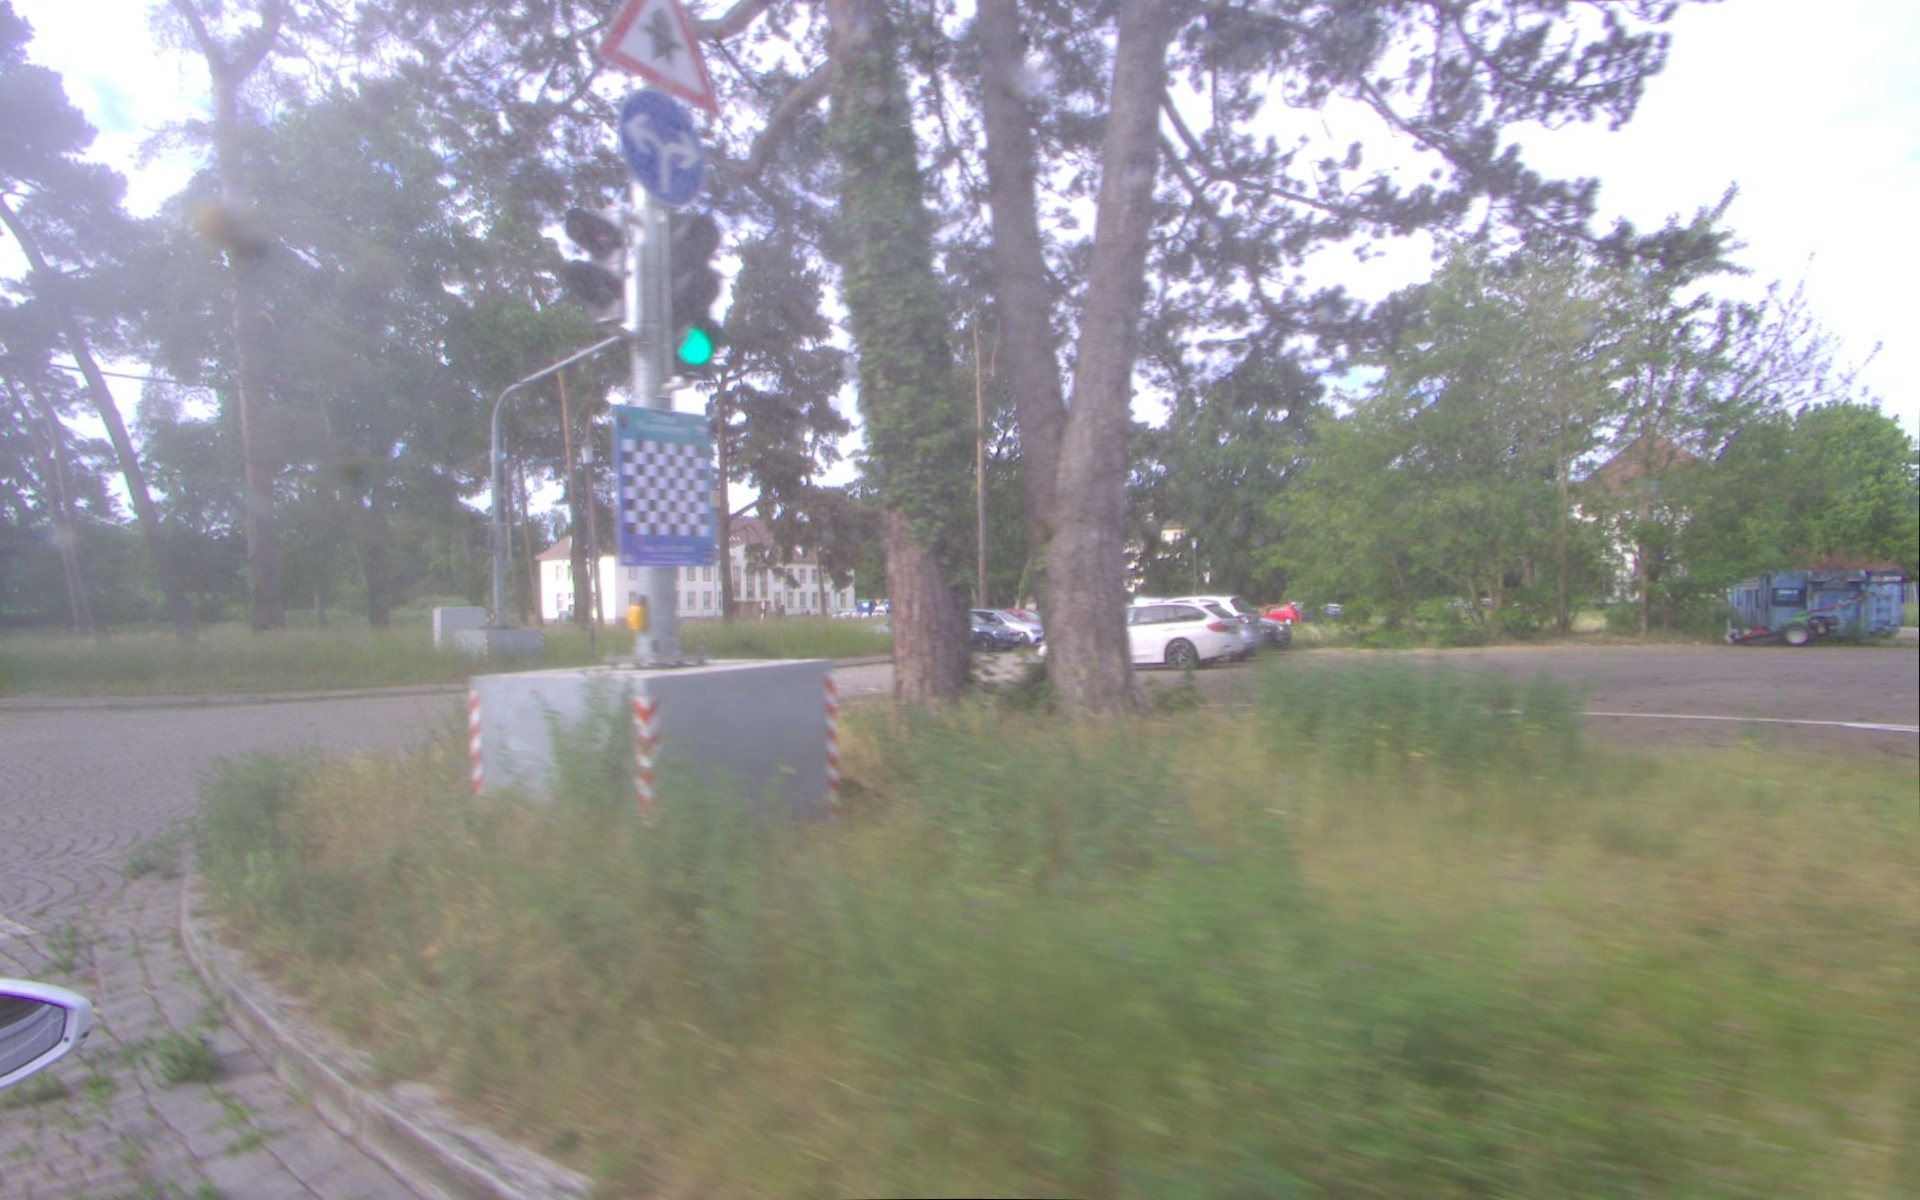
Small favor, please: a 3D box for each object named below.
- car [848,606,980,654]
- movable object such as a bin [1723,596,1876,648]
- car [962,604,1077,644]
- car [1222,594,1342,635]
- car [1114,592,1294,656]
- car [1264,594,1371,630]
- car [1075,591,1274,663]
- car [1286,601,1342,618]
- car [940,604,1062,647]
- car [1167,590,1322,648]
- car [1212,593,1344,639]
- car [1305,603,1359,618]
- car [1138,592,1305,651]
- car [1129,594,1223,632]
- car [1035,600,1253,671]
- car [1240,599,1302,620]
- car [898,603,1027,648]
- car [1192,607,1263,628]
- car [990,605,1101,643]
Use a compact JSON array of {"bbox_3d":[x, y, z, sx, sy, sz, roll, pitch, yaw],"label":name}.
[{"bbox_3d":[-1.609,1.005,34.427,4.388,1.544,1.747,-1,0,35],"label":"car"},{"bbox_3d":[18.958,0.465,22.726,2.506,1.098,1.059,1,1,32],"label":"movable object such as a bin"},{"bbox_3d":[2.410,0.956,40.810,4.381,1.544,1.749,-1,0,31],"label":"car"},{"bbox_3d":[13.175,0.586,41.012,4.382,1.598,1.863,-1,0,30],"label":"car"},{"bbox_3d":[6.581,0.623,27.107,4.381,1.598,1.863,-1,0,30],"label":"car"},{"bbox_3d":[16.469,0.556,46.186,4.382,1.598,1.863,-1,0,30],"label":"car"},{"bbox_3d":[5.182,0.623,24.300,4.381,1.598,1.863,-1,0,30],"label":"car"},{"bbox_3d":[27.634,0.740,78.132,3.938,1.225,1.655,-1,0,28],"label":"car"},{"bbox_3d":[1.556,0.961,38.437,4.381,1.544,1.749,-1,0,31],"label":"car"},{"bbox_3d":[8.894,0.573,31.380,4.381,1.709,1.863,-1,0,30],"label":"car"},{"bbox_3d":[11.770,0.589,37.118,4.381,1.598,1.863,-1,0,30],"label":"car"},{"bbox_3d":[30.348,0.846,81.620,3.938,1.225,1.655,-1,0,28],"label":"car"},{"bbox_3d":[7.577,0.616,29.148,4.381,1.598,1.863,-1,0,30],"label":"car"},{"bbox_3d":[11.569,0.689,53.692,4.588,1.993,1.749,-1,0,31],"label":"car"},{"bbox_3d":[4.003,0.765,21.989,4.382,1.434,1.749,-2,0,31],"label":"car"},{"bbox_3d":[21.729,0.675,69.950,3.938,1.373,1.655,-1,0,28],"label":"car"},{"bbox_3d":[0.075,0.903,36.230,4.381,1.544,1.750,-1,0,30],"label":"car"},{"bbox_3d":[16.275,1.038,60.894,3.935,1.225,1.657,-1,0,25],"label":"car"},{"bbox_3d":[3.633,0.992,42.739,4.381,1.544,1.749,-1,0,31],"label":"car"}]
